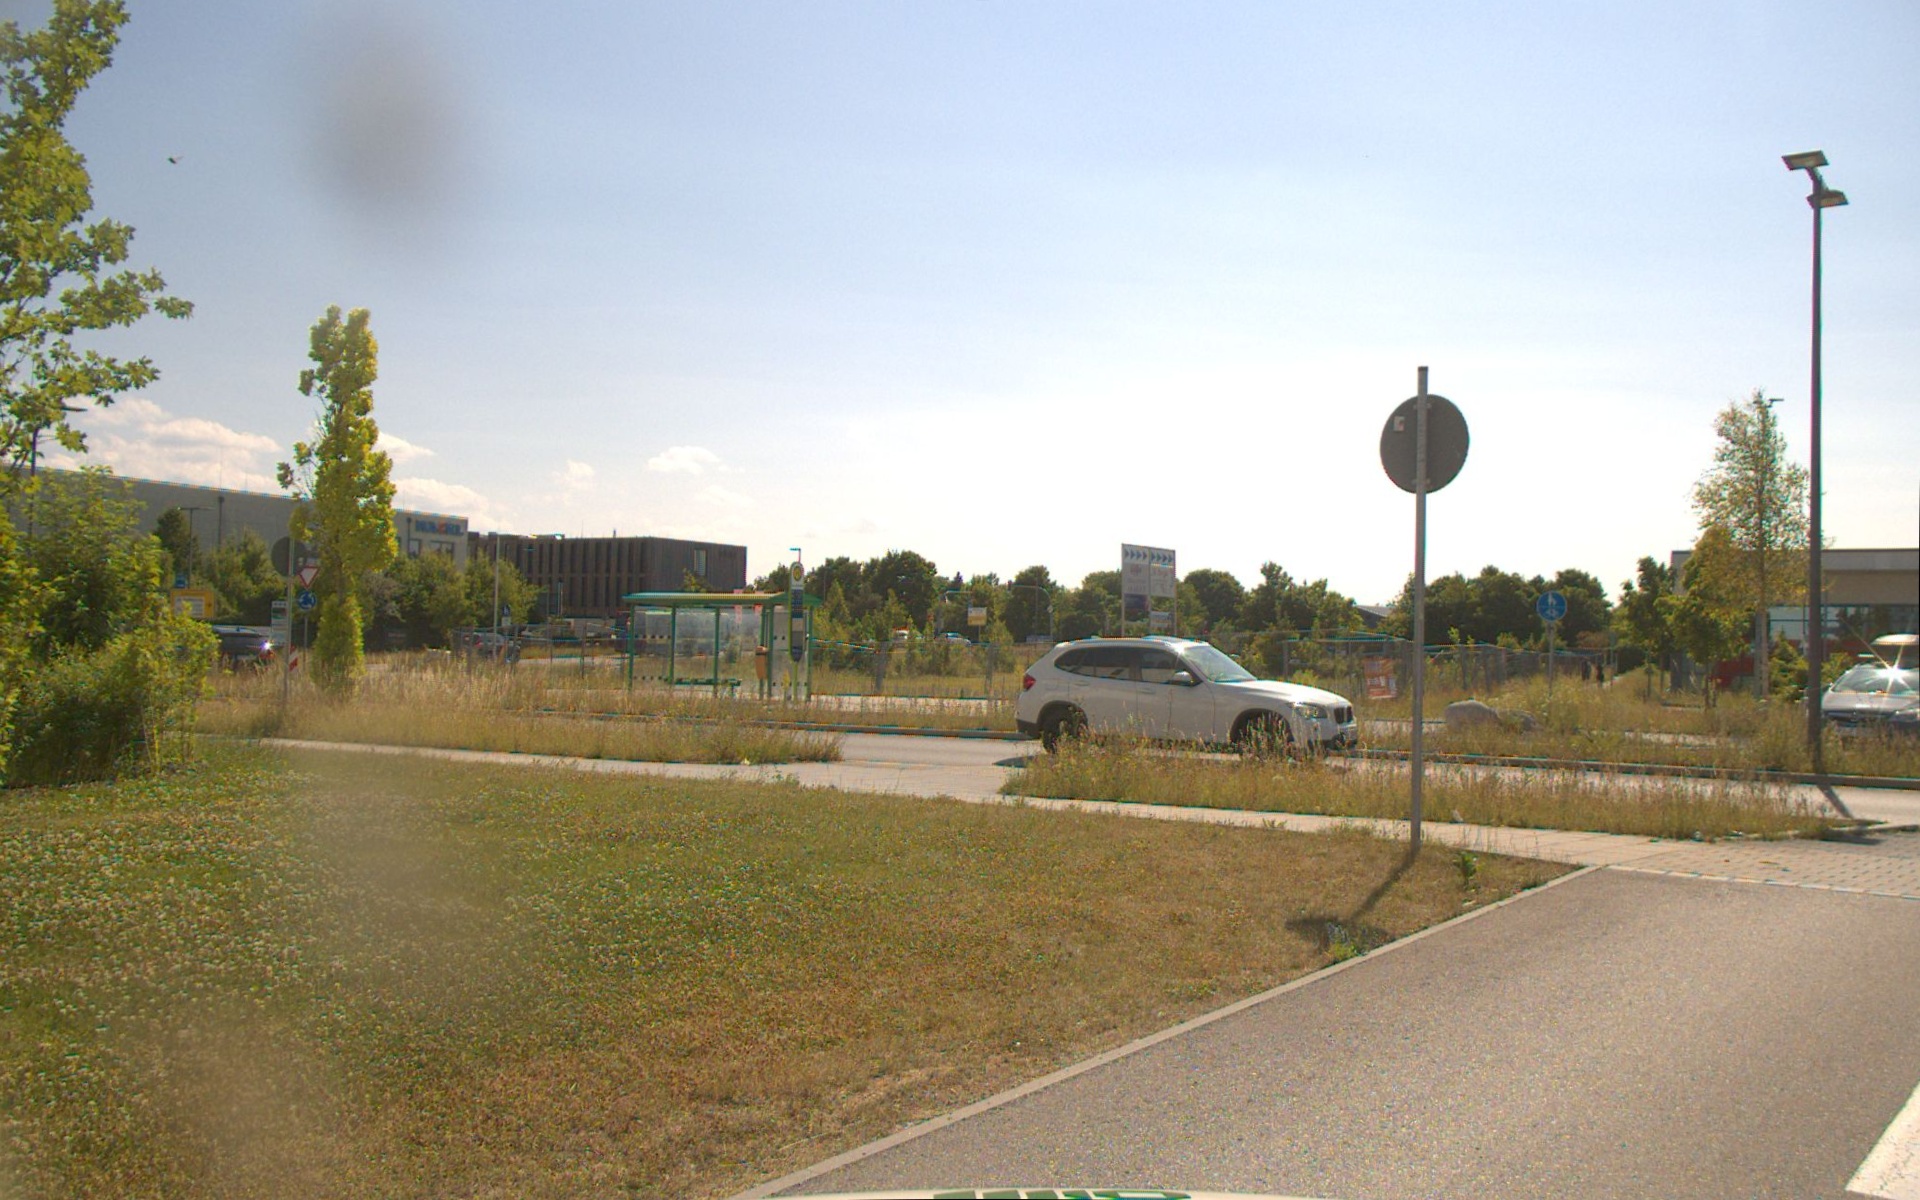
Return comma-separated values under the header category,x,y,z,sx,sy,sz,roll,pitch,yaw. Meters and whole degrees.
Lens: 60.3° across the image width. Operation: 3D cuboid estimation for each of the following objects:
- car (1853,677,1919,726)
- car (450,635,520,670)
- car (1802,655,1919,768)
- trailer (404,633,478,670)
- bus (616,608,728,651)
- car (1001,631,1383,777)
category,x,y,z,sx,sy,sz,roll,pitch,yaw
car,30.237,3.209,51.969,3.762,1.448,1.768,1,-2,31
car,-26.947,2.981,93.938,1.784,1.892,4.000,1,-2,19
car,14.470,1.684,25.249,1.964,1.543,4.172,0,-3,41
trailer,-28.276,2.815,90.237,1.784,1.892,4.000,1,-2,19
bus,-19.924,2.127,115.288,2.518,2.783,11.572,1,-1,18
car,2.905,1.257,21.010,4.473,1.578,1.737,1,-2,32
